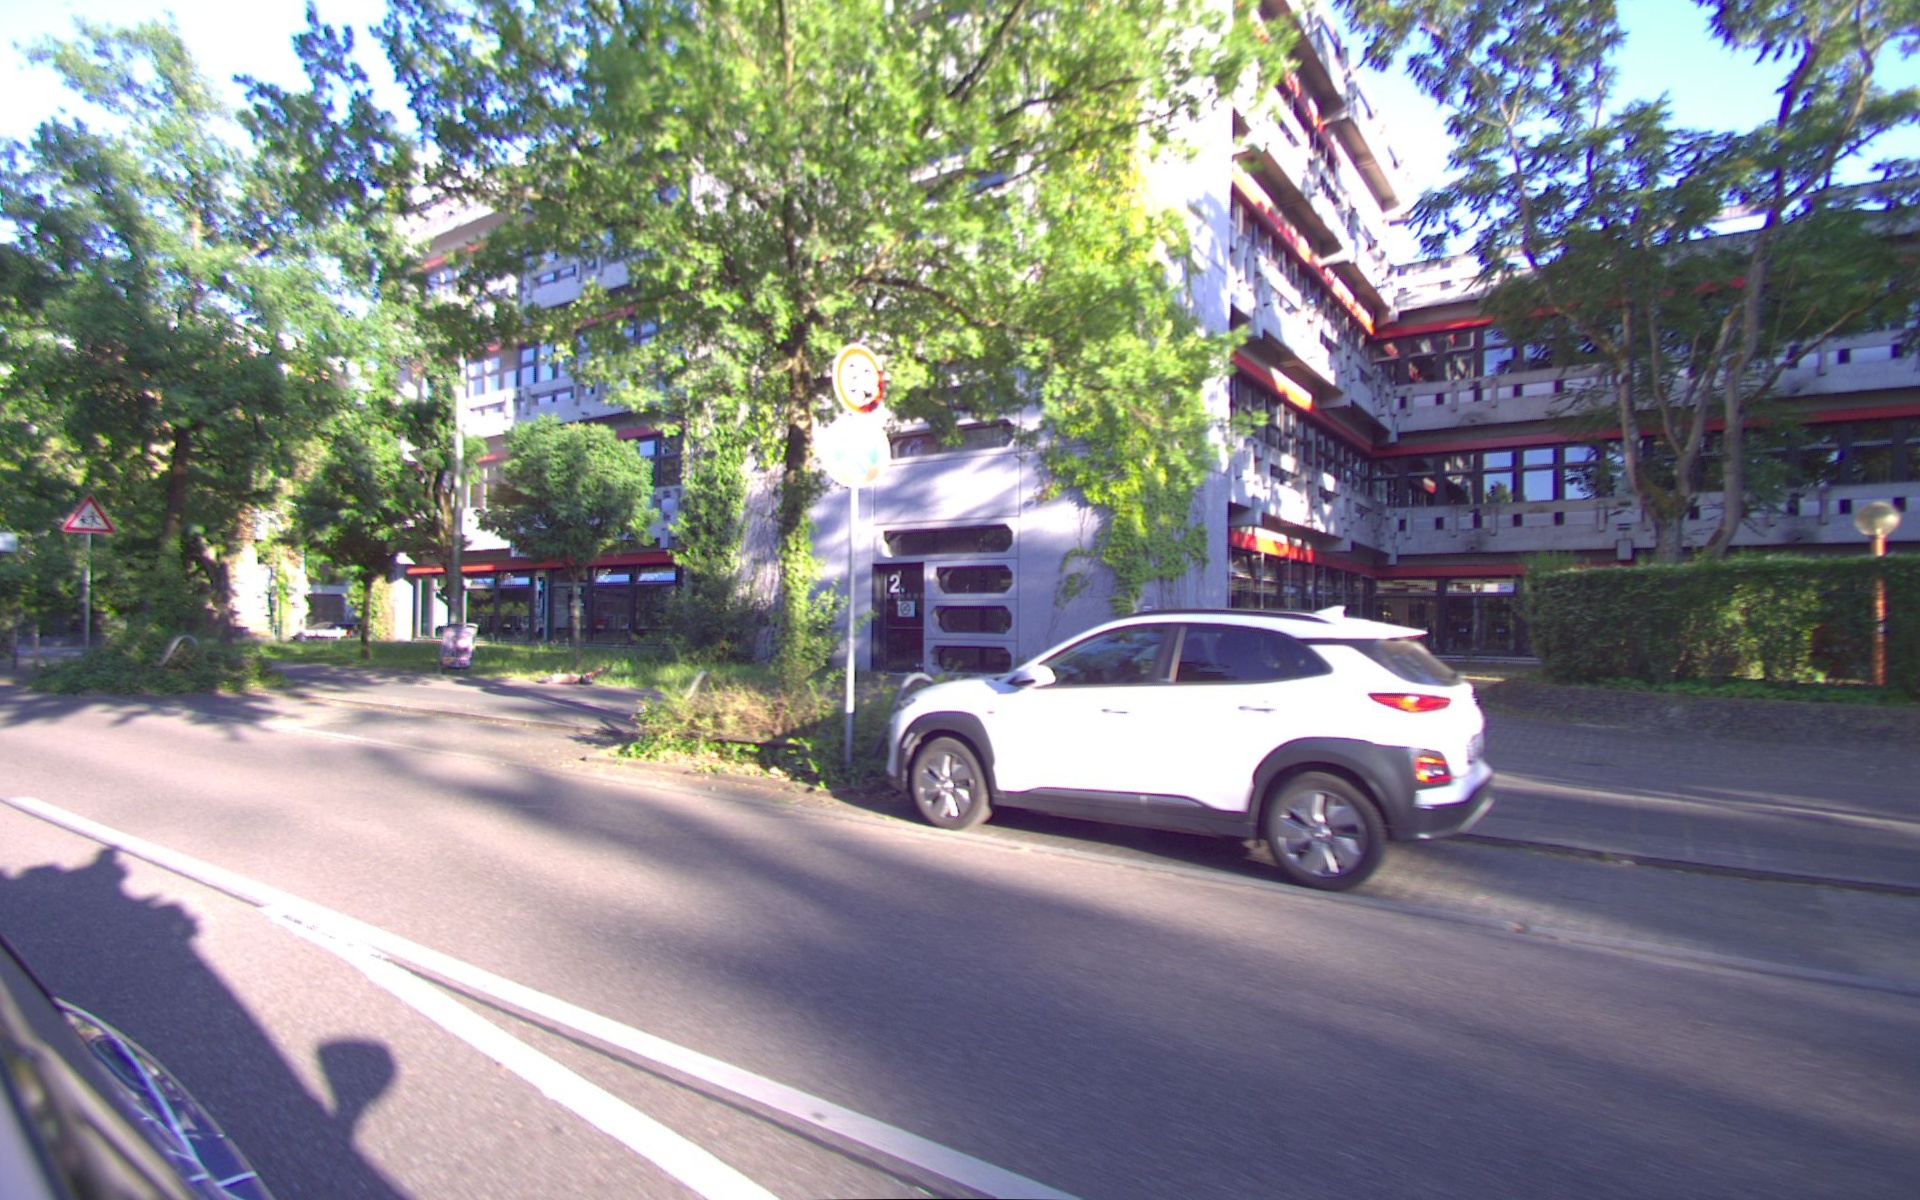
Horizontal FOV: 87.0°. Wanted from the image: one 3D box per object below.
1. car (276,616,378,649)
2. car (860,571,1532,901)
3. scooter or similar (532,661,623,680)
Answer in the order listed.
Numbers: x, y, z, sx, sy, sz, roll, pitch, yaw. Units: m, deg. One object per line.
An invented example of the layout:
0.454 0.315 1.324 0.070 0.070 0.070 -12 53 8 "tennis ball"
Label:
-31.250 1.619 50.083 1.766 1.460 3.931 2 -1 23 "car"
1.480 0.689 6.932 4.137 1.628 1.788 0 -2 34 "car"
-7.570 1.388 20.062 1.241 0.278 1.158 0 -1 19 "scooter or similar"
